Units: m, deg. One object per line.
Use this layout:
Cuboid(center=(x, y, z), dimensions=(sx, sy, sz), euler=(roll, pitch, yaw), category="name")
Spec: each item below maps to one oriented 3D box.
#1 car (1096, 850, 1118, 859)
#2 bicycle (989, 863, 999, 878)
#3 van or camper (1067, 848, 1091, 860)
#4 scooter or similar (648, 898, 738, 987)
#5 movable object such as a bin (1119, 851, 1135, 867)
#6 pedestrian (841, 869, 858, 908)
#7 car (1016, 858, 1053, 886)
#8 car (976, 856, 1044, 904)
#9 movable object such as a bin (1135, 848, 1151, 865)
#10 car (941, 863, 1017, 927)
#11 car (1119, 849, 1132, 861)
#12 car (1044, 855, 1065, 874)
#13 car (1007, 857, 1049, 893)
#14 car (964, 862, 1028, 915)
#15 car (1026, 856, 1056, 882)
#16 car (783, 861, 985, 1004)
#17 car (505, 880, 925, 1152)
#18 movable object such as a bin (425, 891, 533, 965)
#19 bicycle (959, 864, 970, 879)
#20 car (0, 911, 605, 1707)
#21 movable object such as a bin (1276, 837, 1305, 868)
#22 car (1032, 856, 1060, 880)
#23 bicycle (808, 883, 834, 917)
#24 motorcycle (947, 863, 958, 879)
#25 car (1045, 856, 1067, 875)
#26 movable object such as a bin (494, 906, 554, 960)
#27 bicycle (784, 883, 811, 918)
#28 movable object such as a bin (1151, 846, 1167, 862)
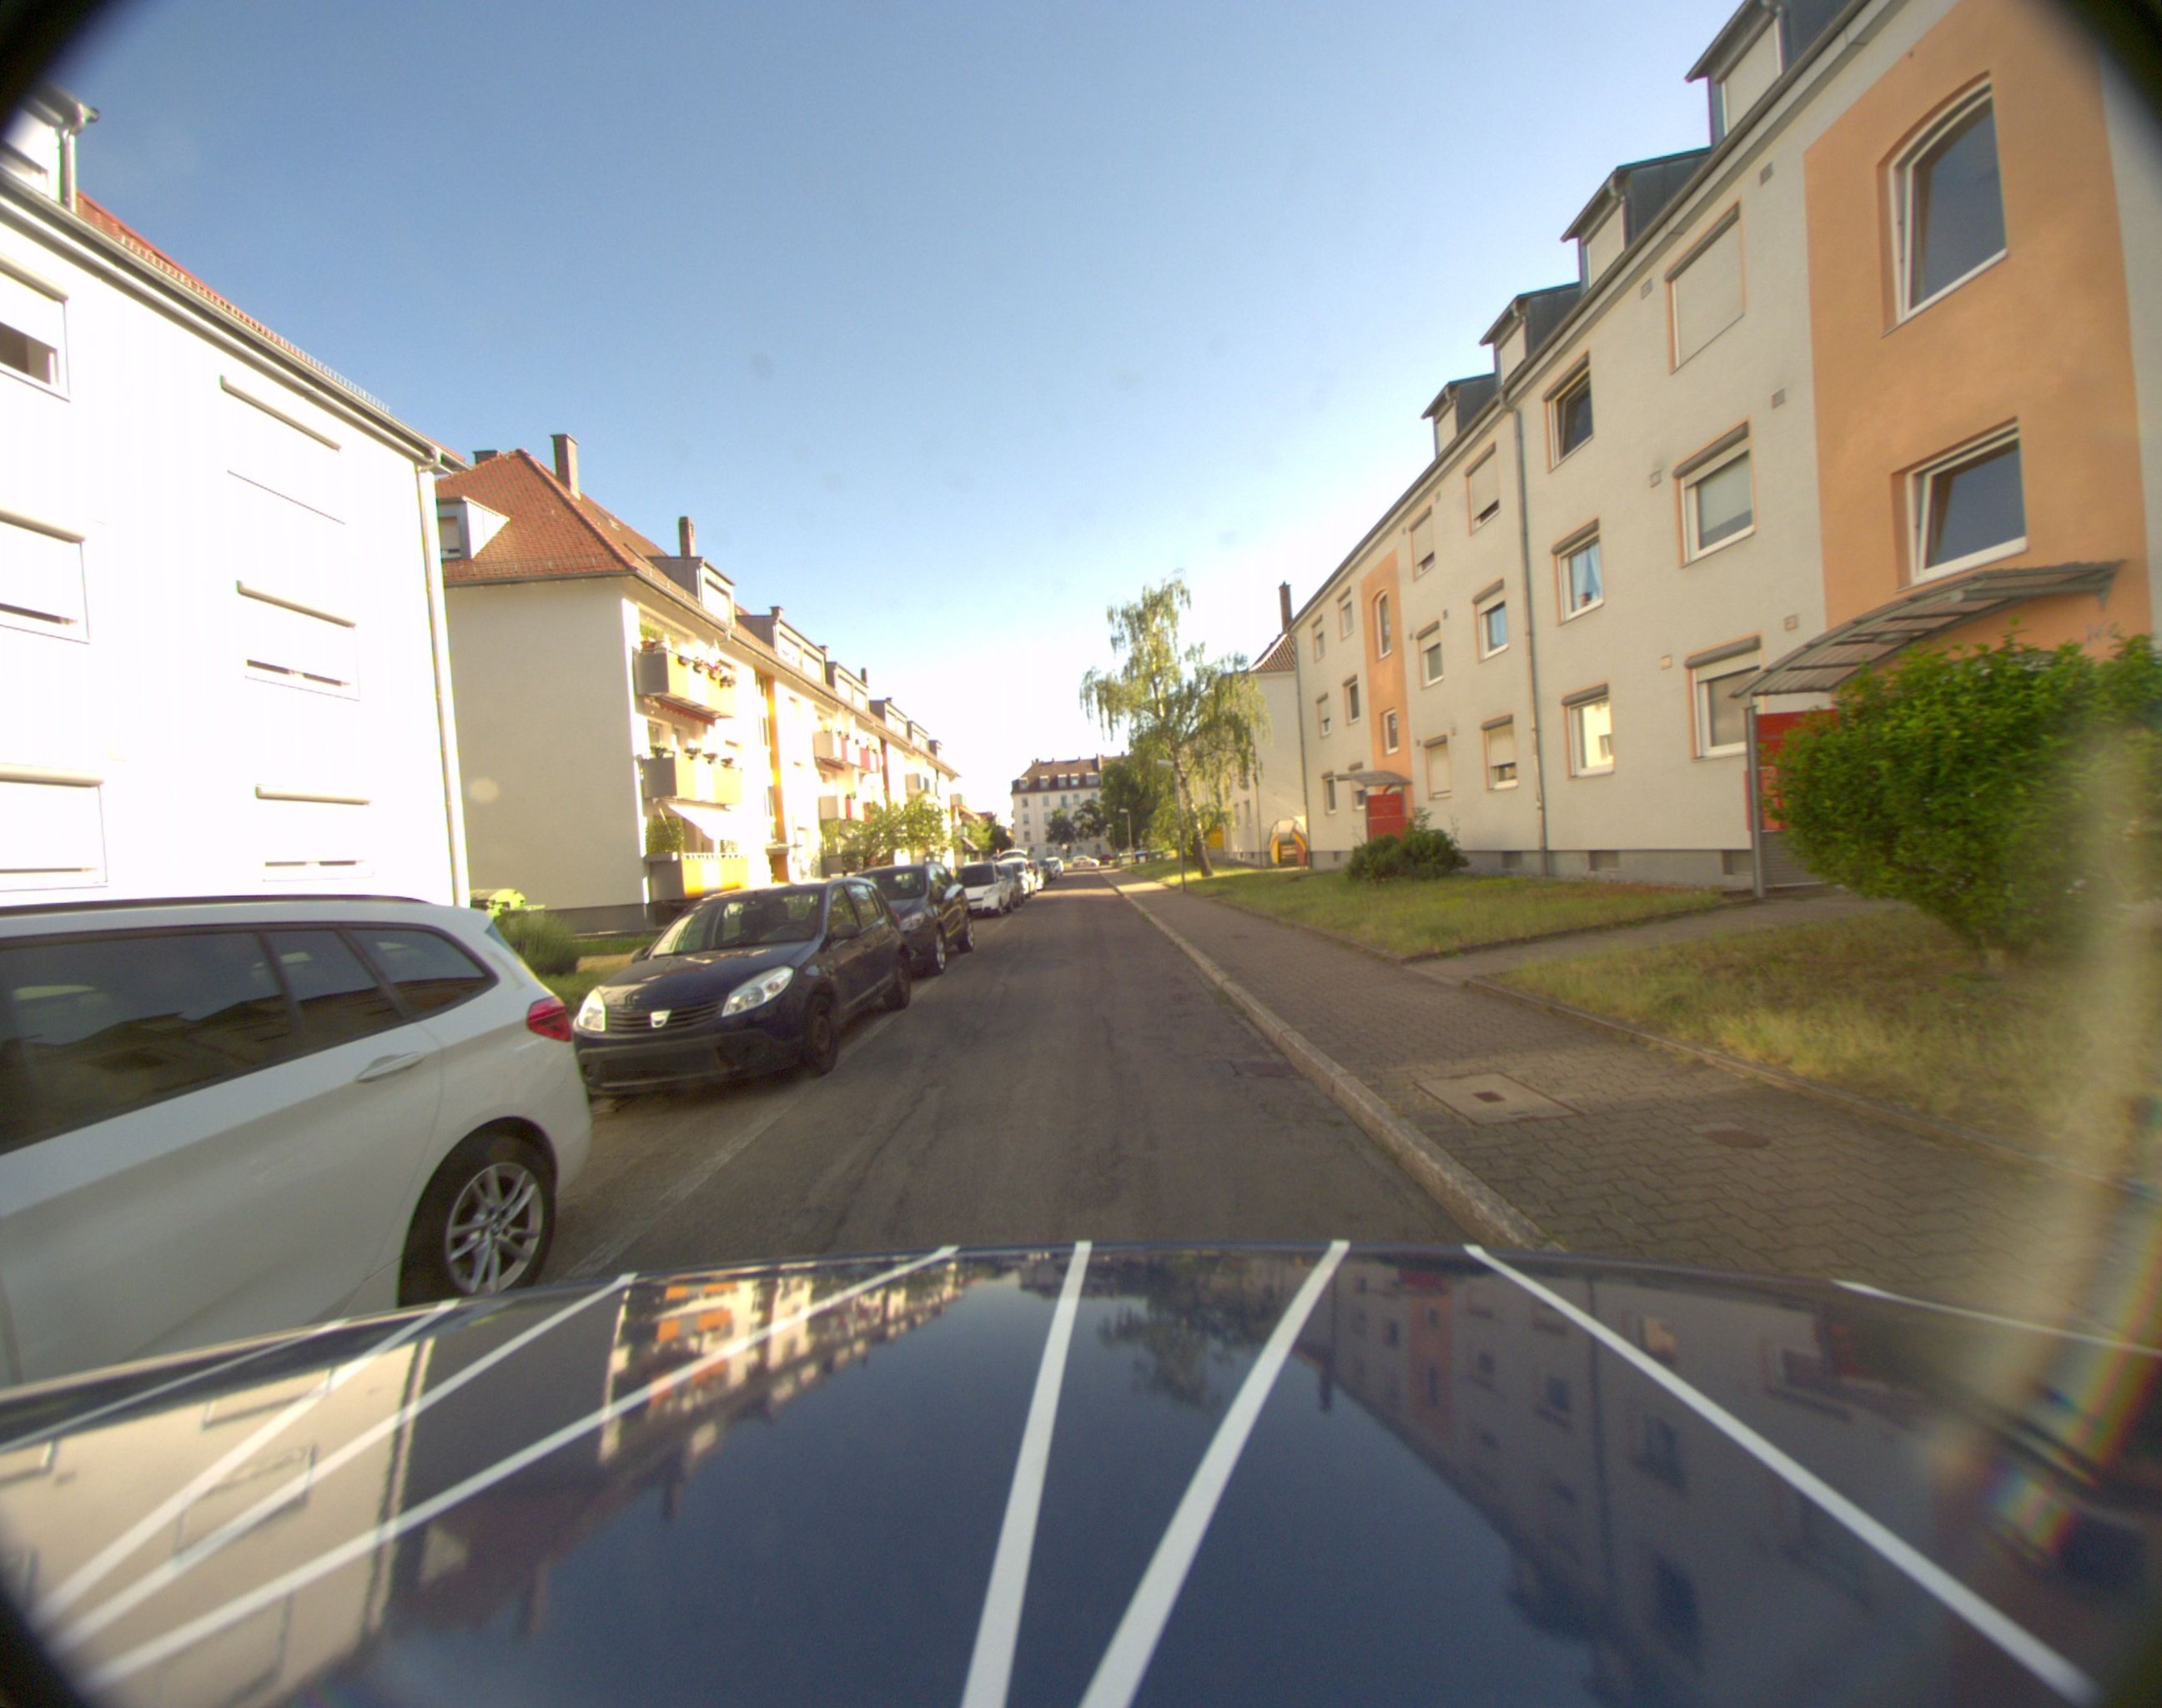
Cuboid(center=(4.798, 0.145, 140.000), dimensions=(3.996, 1.477, 1.722), euler=(-3, 0, 2), category="car")
Cuboid(center=(-7.025, 1.330, 61.487), dimensions=(0.579, 1.126, 1.872), euler=(-2, 0, -1), category="bicycle")
Cuboid(center=(-0.381, 0.019, 140.342), dimensions=(4.355, 1.852, 2.000), euler=(-3, 1, -2), category="van or camper")
Cuboid(center=(-5.754, 1.271, 11.369), dimensions=(0.485, 1.142, 1.589), euler=(-1, 0, 1), category="scooter or similar")
Cuboid(center=(4.501, 0.486, 74.698), dimensions=(1.318, 1.451, 1.198), euler=(-8, 1, 0), category="movable object such as a bin")
Cuboid(center=(-9.080, 1.359, 29.791), dimensions=(0.451, 1.486, 0.360), euler=(-3, 2, 1), category="pedestrian")
Cuboid(center=(-2.763, 1.058, 46.026), dimensions=(1.650, 1.441, 4.061), euler=(-6, 0, 3), category="car")
Cuboid(center=(-2.867, 1.007, 31.804), dimensions=(1.998, 1.603, 4.995), euler=(-6, 0, 2), category="car")
Cuboid(center=(6.077, 0.243, 74.759), dimensions=(1.358, 1.451, 1.082), euler=(-8, 1, 0), category="movable object such as a bin")
Cuboid(center=(-2.904, 1.139, 22.210), dimensions=(1.483, 1.520, 2.941), euler=(-6, 0, 4), category="car")
Cuboid(center=(6.286, 0.144, 107.736), dimensions=(1.678, 1.645, 3.305), euler=(-3, 0, 4), category="car")
Cuboid(center=(-2.351, 0.930, 68.045), dimensions=(1.695, 1.410, 4.097), euler=(-6, 0, -1), category="car")
Cuboid(center=(-2.589, 0.978, 37.805), dimensions=(1.777, 1.496, 4.480), euler=(-5, 0, -2), category="car")
Cuboid(center=(-2.872, 1.129, 26.480), dimensions=(1.698, 1.482, 3.984), euler=(-6, 0, -1), category="car")
Cuboid(center=(-2.655, 0.957, 50.674), dimensions=(1.728, 1.569, 4.352), euler=(-3, 0, -1), category="car")
Cuboid(center=(-2.820, 1.033, 12.031), dimensions=(1.787, 1.638, 4.468), euler=(-5, 0, 1), category="car")
Cuboid(center=(-2.771, 1.110, 6.934), dimensions=(1.645, 1.490, 4.156), euler=(-4, 0, 1), category="car")
Cuboid(center=(-12.892, 1.564, 16.325), dimensions=(1.331, 1.399, 1.106), euler=(-2, 3, 1), category="movable object such as a bin")
Cuboid(center=(-9.426, 1.392, 61.560), dimensions=(0.598, 1.109, 1.872), euler=(-3, 0, -1), category="bicycle")
Cuboid(center=(-2.971, 1.105, 1.084), dimensions=(1.695, 1.566, 4.434), euler=(-5, 0, -1), category="car")
Cuboid(center=(10.137, -0.086, 36.807), dimensions=(1.087, 1.398, 0.812), euler=(-5, 1, 1), category="movable object such as a bin")
Cuboid(center=(-2.559, 0.998, 55.977), dimensions=(1.717, 1.501, 3.853), euler=(-7, 0, -1), category="car")
Cuboid(center=(-9.076, 1.592, 26.536), dimensions=(0.404, 1.080, 1.299), euler=(-3, 0, 1), category="bicycle")
Cuboid(center=(-10.426, 1.388, 61.742), dimensions=(0.442, 1.231, 1.976), euler=(-3, 0, 0), category="motorcycle")
Cuboid(center=(-2.377, 1.053, 73.360), dimensions=(1.805, 1.583, 4.581), euler=(-5, 0, -1), category="car")
Cuboid(center=(-11.887, 1.678, 16.241), dimensions=(0.644, 1.029, 0.757), euler=(-2, 3, 1), category="movable object such as a bin")
Cuboid(center=(-9.977, 1.633, 26.759), dimensions=(0.404, 1.126, 1.273), euler=(-4, 0, 1), category="bicycle")
Cuboid(center=(7.662, -0.016, 74.777), dimensions=(1.363, 1.445, 1.073), euler=(-8, 1, 0), category="movable object such as a bin")
